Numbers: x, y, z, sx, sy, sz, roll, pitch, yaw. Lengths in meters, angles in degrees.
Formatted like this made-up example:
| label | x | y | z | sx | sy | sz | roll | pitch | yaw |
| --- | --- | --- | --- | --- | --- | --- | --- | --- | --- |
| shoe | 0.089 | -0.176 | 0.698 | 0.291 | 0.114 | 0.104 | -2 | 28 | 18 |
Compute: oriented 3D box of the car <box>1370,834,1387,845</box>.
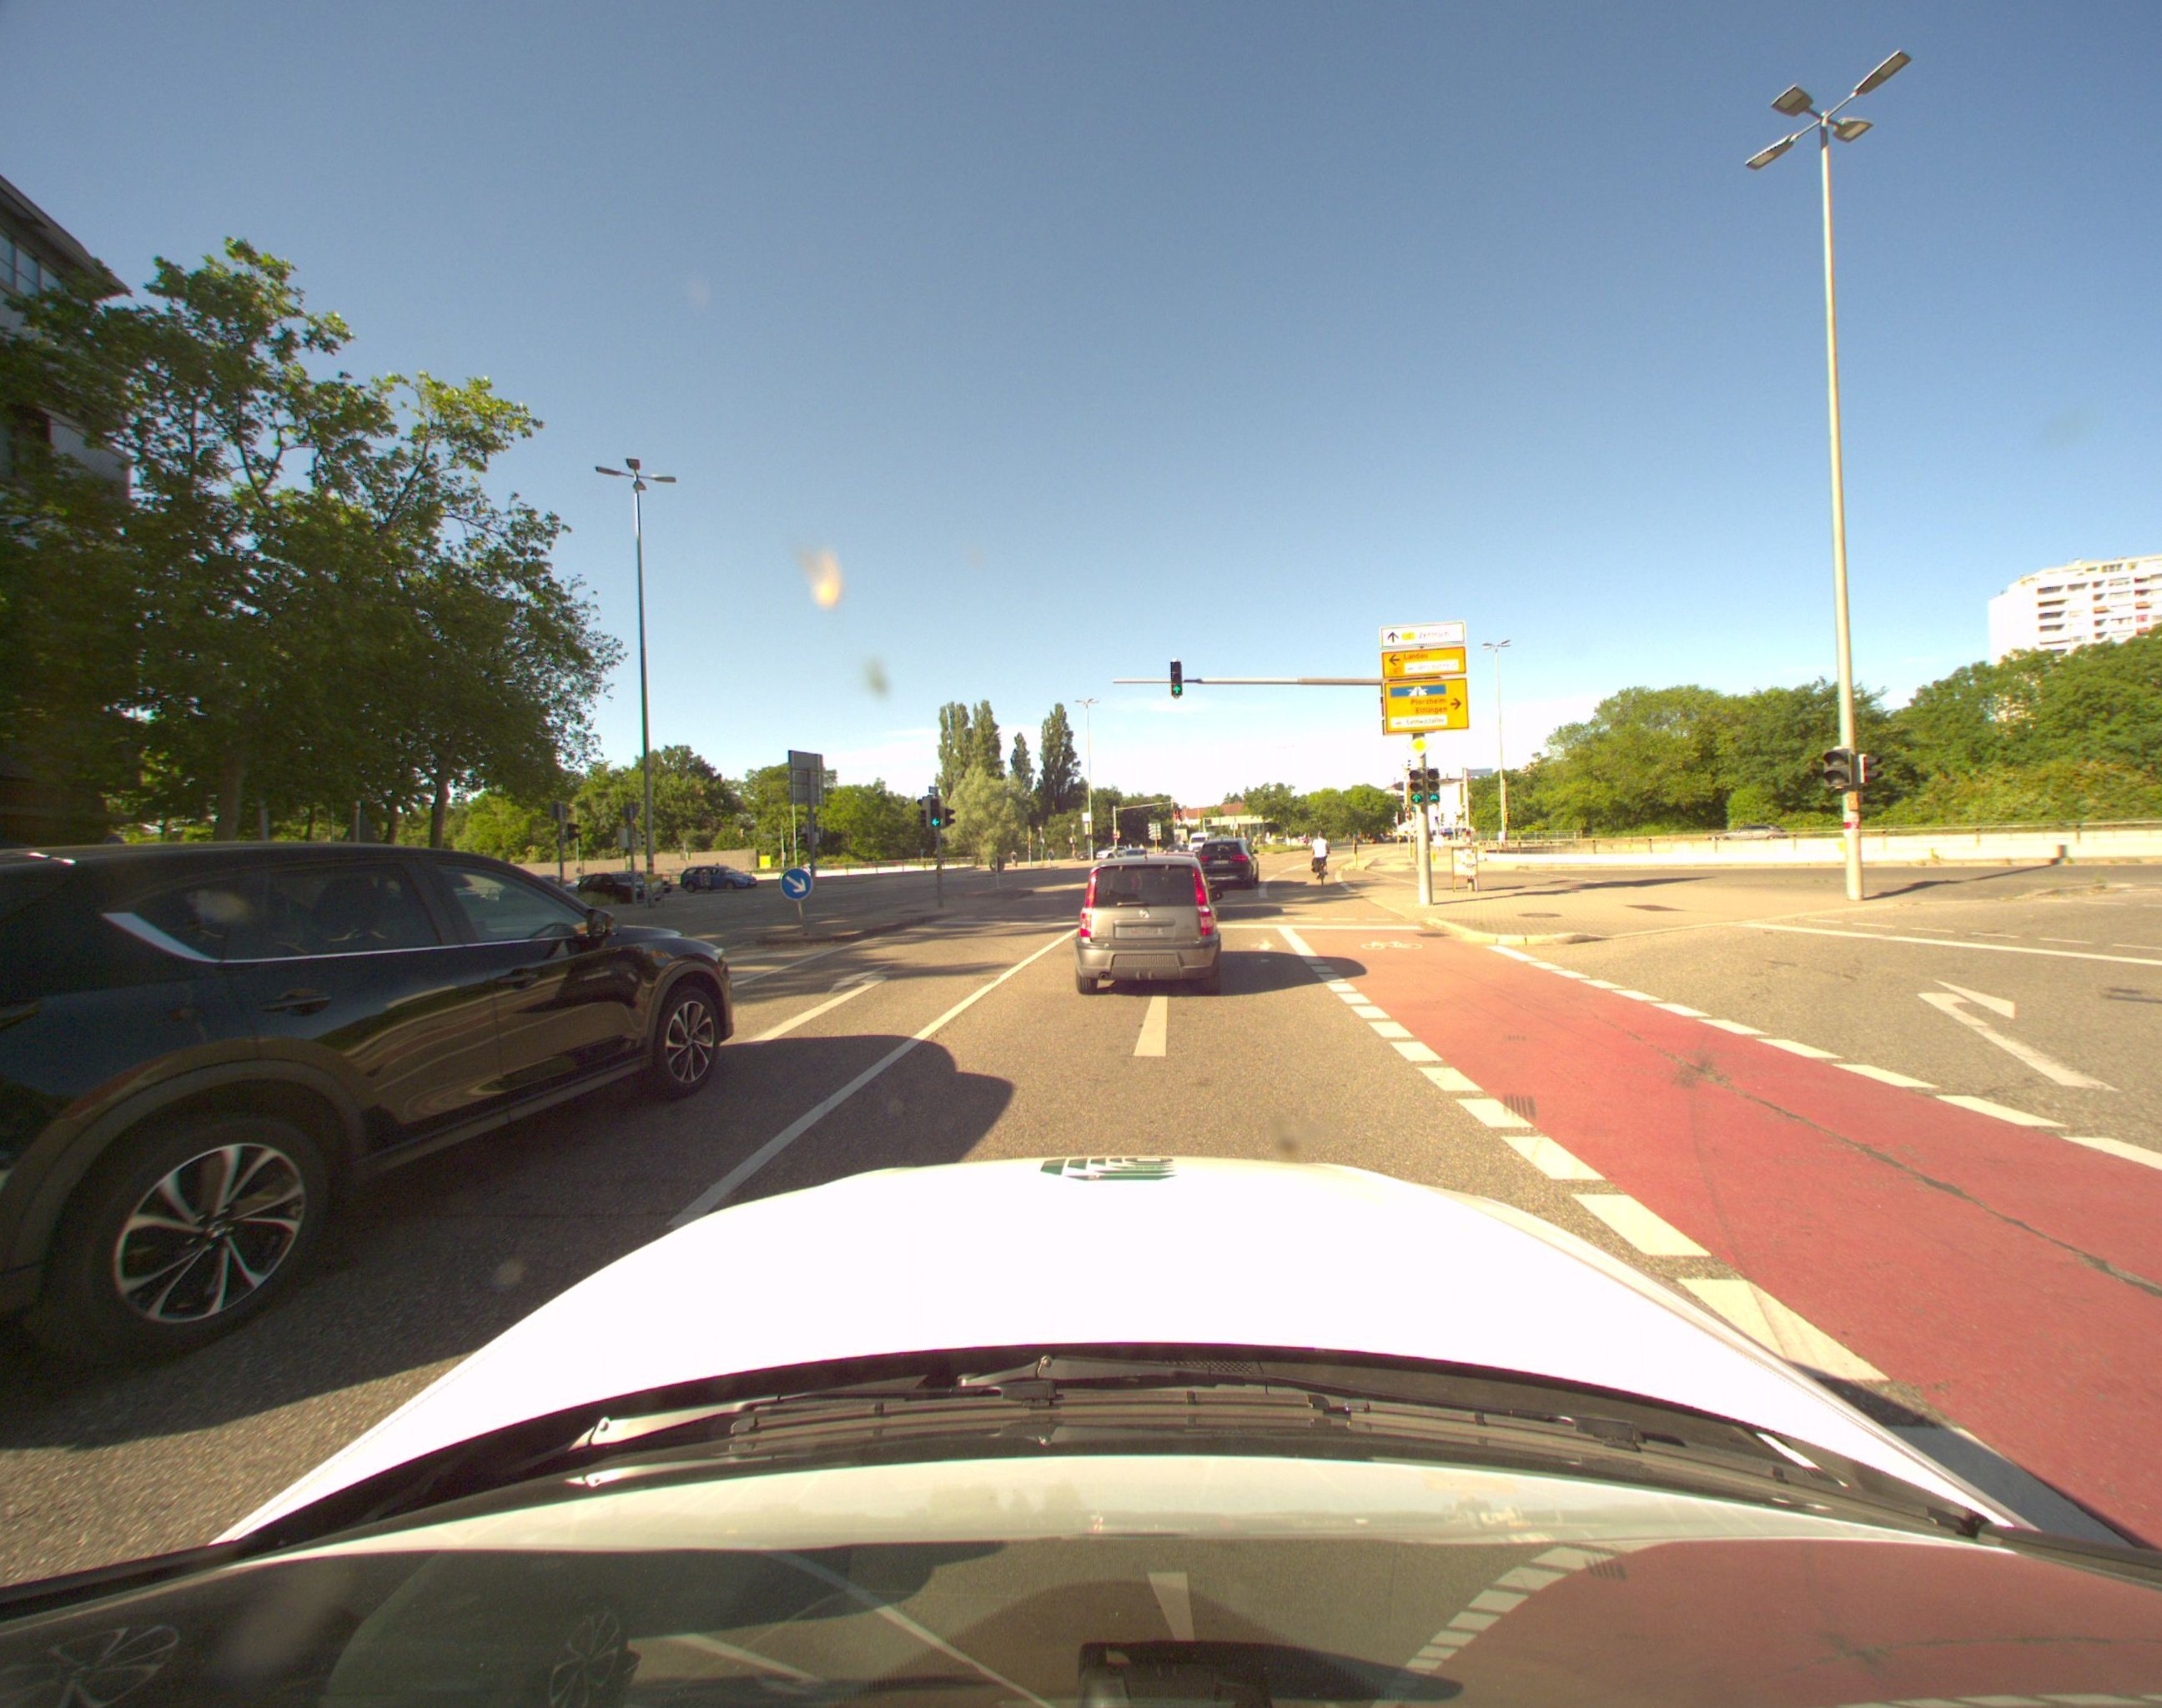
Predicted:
| label | x | y | z | sx | sy | sz | roll | pitch | yaw |
| --- | --- | --- | --- | --- | --- | --- | --- | --- | --- |
| car | 48.811 | -2.385 | 133.549 | 1.927 | 1.528 | 4.122 | -2 | 0 | 28 |

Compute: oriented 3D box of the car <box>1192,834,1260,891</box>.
| label | x | y | z | sx | sy | sz | roll | pitch | yaw |
| --- | --- | --- | --- | --- | --- | --- | --- | --- | --- |
| car | 5.221 | 0.251 | 28.887 | 1.931 | 1.840 | 4.170 | -2 | 0 | 15 |

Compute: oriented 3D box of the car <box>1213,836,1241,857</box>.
| label | x | y | z | sx | sy | sz | roll | pitch | yaw |
| --- | --- | --- | --- | --- | --- | --- | --- | --- | --- |
| car | 15.085 | -0.773 | 84.035 | 1.920 | 2.008 | 4.957 | -2 | 1 | 20 |

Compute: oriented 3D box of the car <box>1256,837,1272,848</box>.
| label | x | y | z | sx | sy | sz | roll | pitch | yaw |
| --- | --- | --- | --- | --- | --- | --- | --- | --- | --- |
| car | 34.100 | -2.133 | 151.563 | 1.975 | 1.816 | 4.023 | -1 | -1 | 26 |

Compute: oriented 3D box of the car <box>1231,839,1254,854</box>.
| label | x | y | z | sx | sy | sz | roll | pitch | yaw |
| --- | --- | --- | --- | --- | --- | --- | --- | --- | --- |
| car | 18.770 | -0.888 | 94.620 | 1.920 | 1.622 | 4.529 | -2 | 1 | 20 |

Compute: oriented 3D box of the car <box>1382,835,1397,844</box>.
| label | x | y | z | sx | sy | sz | roll | pitch | yaw |
| --- | --- | --- | --- | --- | --- | --- | --- | --- | --- |
| car | 55.723 | -2.678 | 146.895 | 1.927 | 1.528 | 4.123 | -2 | 0 | 28 |

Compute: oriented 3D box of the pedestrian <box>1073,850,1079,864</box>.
| label | x | y | z | sx | sy | sz | roll | pitch | yaw |
| --- | --- | --- | --- | --- | --- | --- | --- | --- | --- |
| pedestrian | -0.579 | 0.367 | 94.131 | 0.557 | 1.547 | 0.573 | -3 | -1 | -16 |

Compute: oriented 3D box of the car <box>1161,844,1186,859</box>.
| label | x | y | z | sx | sy | sz | roll | pitch | yaw |
| --- | --- | --- | --- | --- | --- | --- | --- | --- | --- |
| car | 10.105 | -0.294 | 88.484 | 1.921 | 1.507 | 4.019 | -4 | 0 | 17 |

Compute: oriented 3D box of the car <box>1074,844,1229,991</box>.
| label | x | y | z | sx | sy | sz | roll | pitch | yaw |
| --- | --- | --- | --- | --- | --- | --- | --- | --- | --- |
| car | 0.960 | 0.645 | 10.461 | 1.609 | 1.515 | 3.827 | 0 | 1 | 7 |

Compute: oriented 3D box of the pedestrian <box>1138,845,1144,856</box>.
| label | x | y | z | sx | sy | sz | roll | pitch | yaw |
| --- | --- | --- | --- | --- | --- | --- | --- | --- | --- |
| pedestrian | 8.933 | -0.566 | 121.161 | 0.713 | 1.641 | 0.676 | -1 | -1 | 25 |

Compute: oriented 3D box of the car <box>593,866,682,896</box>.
| label | x | y | z | sx | sy | sz | roll | pitch | yaw |
| --- | --- | --- | --- | --- | --- | --- | --- | --- | --- |
| car | -26.115 | 1.603 | 47.992 | 4.410 | 1.540 | 1.960 | -2 | 0 | 15 |

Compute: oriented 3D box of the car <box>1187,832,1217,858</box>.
| label | x | y | z | sx | sy | sz | roll | pitch | yaw |
| --- | --- | --- | --- | --- | --- | --- | --- | --- | --- |
| car | 13.029 | -0.986 | 87.477 | 1.920 | 2.576 | 6.120 | -2 | 1 | 20 |

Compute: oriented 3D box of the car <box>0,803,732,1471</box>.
| label | x | y | z | sx | sy | sz | roll | pitch | yaw |
| --- | --- | --- | --- | --- | --- | --- | --- | --- | --- |
| car | -3.604 | 0.743 | 3.765 | 1.866 | 1.709 | 4.201 | -2 | 0 | 4 |

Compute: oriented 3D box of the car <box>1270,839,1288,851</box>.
| label | x | y | z | sx | sy | sz | roll | pitch | yaw |
| --- | --- | --- | --- | --- | --- | --- | --- | --- | --- |
| car | 30.486 | -1.393 | 125.333 | 1.920 | 1.622 | 4.530 | -2 | 1 | 21 |

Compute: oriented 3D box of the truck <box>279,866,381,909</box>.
| label | x | y | z | sx | sy | sz | roll | pitch | yaw |
| --- | --- | --- | --- | --- | --- | --- | --- | --- | --- |
| truck | -45.866 | 2.054 | 49.674 | 7.419 | 2.359 | 2.177 | -2 | 0 | 28 |

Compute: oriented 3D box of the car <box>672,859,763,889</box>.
| label | x | y | z | sx | sy | sz | roll | pitch | yaw |
| --- | --- | --- | --- | --- | --- | --- | --- | --- | --- |
| car | -20.816 | 1.133 | 46.688 | 4.413 | 1.540 | 1.959 | -2 | 0 | 13 |

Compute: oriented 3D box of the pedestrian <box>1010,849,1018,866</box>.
| label | x | y | z | sx | sy | sz | roll | pitch | yaw |
| --- | --- | --- | --- | --- | --- | --- | --- | --- | --- |
| pedestrian | -5.873 | 0.264 | 71.500 | 0.678 | 1.463 | 0.701 | -2 | 0 | -6 |

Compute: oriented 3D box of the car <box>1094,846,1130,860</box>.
| label | x | y | z | sx | sy | sz | roll | pitch | yaw |
| --- | --- | --- | --- | --- | --- | --- | --- | --- | --- |
| car | 3.822 | -0.115 | 98.785 | 4.352 | 1.535 | 1.763 | -3 | 2 | -42 |

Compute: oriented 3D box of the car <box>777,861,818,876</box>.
| label | x | y | z | sx | sy | sz | roll | pitch | yaw |
| --- | --- | --- | --- | --- | --- | --- | --- | --- | --- |
| car | -32.303 | 1.667 | 92.719 | 3.952 | 1.508 | 2.010 | -2 | -1 | 21 |

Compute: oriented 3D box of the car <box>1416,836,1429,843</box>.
| label | x | y | z | sx | sy | sz | roll | pitch | yaw |
| --- | --- | --- | --- | --- | --- | --- | --- | --- | --- |
| car | 81.766 | -3.490 | 195.154 | 1.926 | 1.528 | 4.124 | -2 | 0 | 37 |

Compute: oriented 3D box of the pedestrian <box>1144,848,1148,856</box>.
| label | x | y | z | sx | sy | sz | roll | pitch | yaw |
| --- | --- | --- | --- | --- | --- | --- | --- | --- | --- |
| pedestrian | 9.621 | -0.316 | 121.018 | 0.419 | 1.136 | 0.400 | -1 | -1 | 25 |

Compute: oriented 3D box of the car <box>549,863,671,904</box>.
| label | x | y | z | sx | sy | sz | roll | pitch | yaw |
| --- | --- | --- | --- | --- | --- | --- | --- | --- | --- |
| car | -21.297 | 1.329 | 36.855 | 4.733 | 1.621 | 1.960 | -2 | 0 | 15 |

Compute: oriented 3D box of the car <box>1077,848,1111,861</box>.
| label | x | y | z | sx | sy | sz | roll | pitch | yaw |
| --- | --- | --- | --- | --- | --- | --- | --- | --- | --- |
| car | 1.634 | 0.082 | 101.423 | 4.019 | 1.625 | 1.879 | 0 | -1 | -39 |

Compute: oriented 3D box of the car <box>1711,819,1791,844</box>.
| label | x | y | z | sx | sy | sz | roll | pitch | yaw |
| --- | --- | --- | --- | --- | --- | --- | --- | --- | --- |
| car | 46.309 | -1.552 | 56.380 | 4.190 | 1.552 | 1.873 | -2 | 1 | 39 |

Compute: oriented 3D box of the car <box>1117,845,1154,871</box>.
| label | x | y | z | sx | sy | sz | roll | pitch | yaw |
| --- | --- | --- | --- | --- | --- | --- | --- | --- | --- |
| car | 3.134 | 0.198 | 47.472 | 1.775 | 1.415 | 4.318 | -2 | 0 | 0 |

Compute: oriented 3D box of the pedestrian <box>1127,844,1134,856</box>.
| label | x | y | z | sx | sy | sz | roll | pitch | yaw |
| --- | --- | --- | --- | --- | --- | --- | --- | --- | --- |
| pedestrian | 7.102 | -0.553 | 116.554 | 0.781 | 1.664 | 0.634 | -2 | -2 | 40 |

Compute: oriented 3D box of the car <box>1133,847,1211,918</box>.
| label | x | y | z | sx | sy | sz | roll | pitch | yaw |
| --- | --- | --- | --- | --- | --- | --- | --- | --- | --- |
| car | 2.121 | 0.580 | 18.854 | 1.609 | 1.463 | 3.758 | 0 | 1 | 7 |

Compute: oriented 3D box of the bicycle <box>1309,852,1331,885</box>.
| label | x | y | z | sx | sy | sz | roll | pitch | yaw |
| --- | --- | --- | --- | --- | --- | --- | --- | --- | --- |
| bicycle | 8.421 | 0.488 | 28.657 | 0.686 | 1.102 | 1.834 | -1 | 1 | 17 |

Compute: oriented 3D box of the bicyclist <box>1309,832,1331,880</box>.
| label | x | y | z | sx | sy | sz | roll | pitch | yaw |
| --- | --- | --- | --- | --- | --- | --- | --- | --- | --- |
| bicyclist | 8.426 | 0.064 | 28.700 | 0.718 | 1.659 | 1.118 | -1 | 1 | 17 |

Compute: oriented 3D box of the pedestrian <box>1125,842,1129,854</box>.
| label | x | y | z | sx | sy | sz | roll | pitch | yaw |
| --- | --- | --- | --- | --- | --- | --- | --- | --- | --- |
| pedestrian | 6.601 | -0.854 | 117.232 | 0.494 | 1.702 | 0.503 | -1 | -1 | 24 |

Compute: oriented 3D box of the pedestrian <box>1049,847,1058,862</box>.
| label | x | y | z | sx | sy | sz | roll | pitch | yaw |
| --- | --- | --- | --- | --- | --- | --- | --- | --- | --- |
| pedestrian | -2.964 | 0.097 | 87.886 | 0.714 | 1.547 | 0.721 | -3 | -1 | -35 |
